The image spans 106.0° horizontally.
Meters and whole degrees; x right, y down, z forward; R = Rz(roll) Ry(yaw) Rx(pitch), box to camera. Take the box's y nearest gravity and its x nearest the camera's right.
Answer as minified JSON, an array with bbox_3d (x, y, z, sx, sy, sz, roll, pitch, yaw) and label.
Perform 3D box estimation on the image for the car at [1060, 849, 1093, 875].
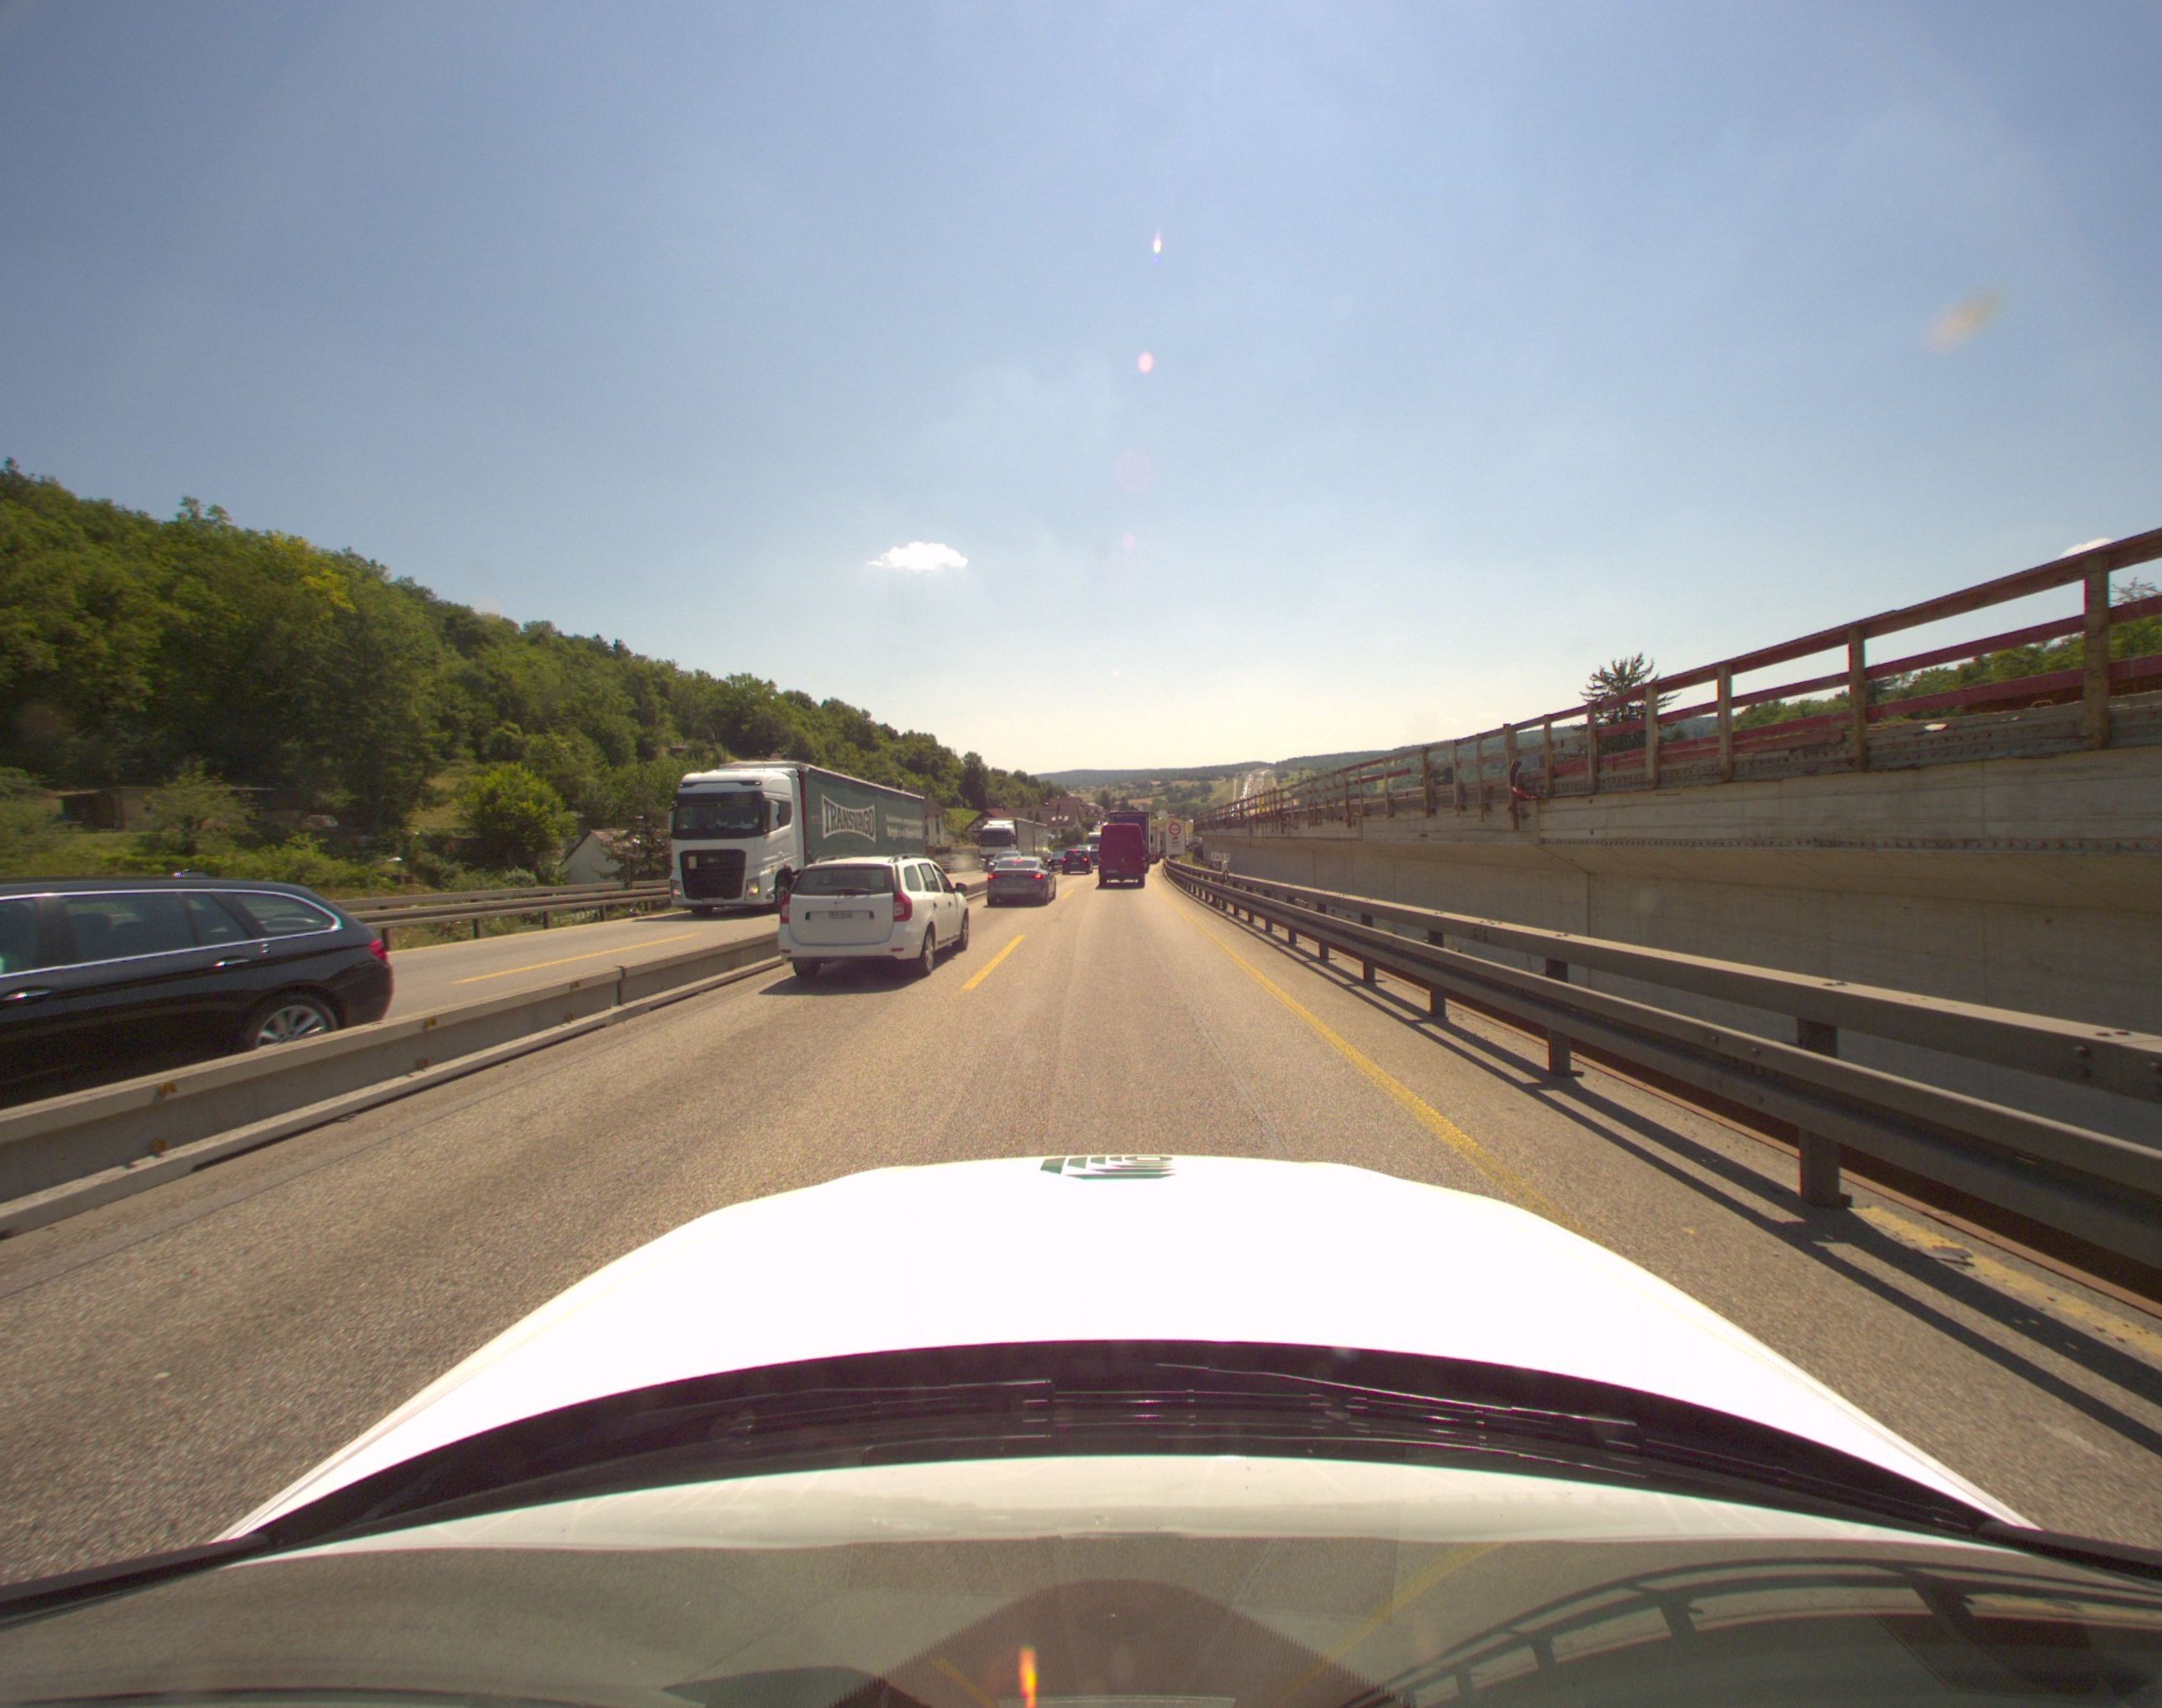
[{"bbox_3d":[-0.260,0.552,53.601,1.802,1.608,3.723,-1,-1,4],"label":"car"}]

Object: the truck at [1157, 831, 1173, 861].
[{"bbox_3d":[12.553,-1.149,121.811,1.981,4.381,4.010,-1,-1,9],"label":"truck"}]

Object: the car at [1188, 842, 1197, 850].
[{"bbox_3d":[30.630,-2.254,223.062,2.117,2.014,4.013,-1,-1,12],"label":"car"}]

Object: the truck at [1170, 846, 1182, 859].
[{"bbox_3d":[11.519,-0.175,98.608,1.308,1.542,3.156,-1,-1,5],"label":"truck"}]

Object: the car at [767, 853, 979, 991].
[{"bbox_3d":[-2.638,0.790,11.394,1.645,1.483,4.268,-3,-1,2],"label":"car"}]

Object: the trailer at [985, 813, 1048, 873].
[{"bbox_3d":[-5.323,-0.763,70.505,2.820,4.642,14.602,-1,-1,5],"label":"trailer"}]

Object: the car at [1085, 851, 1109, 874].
[{"bbox_3d":[1.383,0.716,69.215,1.721,1.838,4.005,-1,-1,4],"label":"car"}]

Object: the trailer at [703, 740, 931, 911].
[{"bbox_3d":[-8.815,-0.716,30.135,3.051,4.815,14.013,-1,-1,3],"label":"trailer"}]

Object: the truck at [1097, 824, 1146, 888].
[{"bbox_3d":[1.731,0.096,35.255,1.986,2.578,4.002,-1,-1,2],"label":"truck"}]

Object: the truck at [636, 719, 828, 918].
[{"bbox_3d":[-9.271,-0.831,22.248,3.048,4.822,4.649,-1,-1,3],"label":"truck"}]

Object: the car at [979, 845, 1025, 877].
[{"bbox_3d":[-4.382,0.368,45.743,1.949,1.681,4.117,-1,0,3],"label":"car"}]

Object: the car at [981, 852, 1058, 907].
[{"bbox_3d":[-1.786,0.717,24.835,1.787,1.485,4.053,-1,0,3],"label":"car"}]

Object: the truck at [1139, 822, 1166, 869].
[{"bbox_3d":[7.903,-0.831,90.283,2.773,4.816,9.698,-1,-1,5],"label":"truck"}]

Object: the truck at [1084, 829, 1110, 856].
[{"bbox_3d":[2.767,-1.862,134.534,2.962,4.162,10.568,-1,0,8],"label":"truck"}]

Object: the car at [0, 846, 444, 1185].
[{"bbox_3d":[-6.236,0.797,4.250,1.987,1.640,4.852,-1,-1,0],"label":"car"}]

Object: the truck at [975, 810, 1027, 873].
[{"bbox_3d":[-6.081,-0.905,62.933,2.832,4.580,5.797,-1,-1,6],"label":"truck"}]

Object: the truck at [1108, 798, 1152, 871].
[{"bbox_3d":[3.653,-1.225,58.463,2.773,4.816,9.698,-1,-1,5],"label":"truck"}]

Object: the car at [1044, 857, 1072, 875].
[{"bbox_3d":[-1.985,1.062,72.659,1.892,1.462,4.764,-1,-1,5],"label":"car"}]
